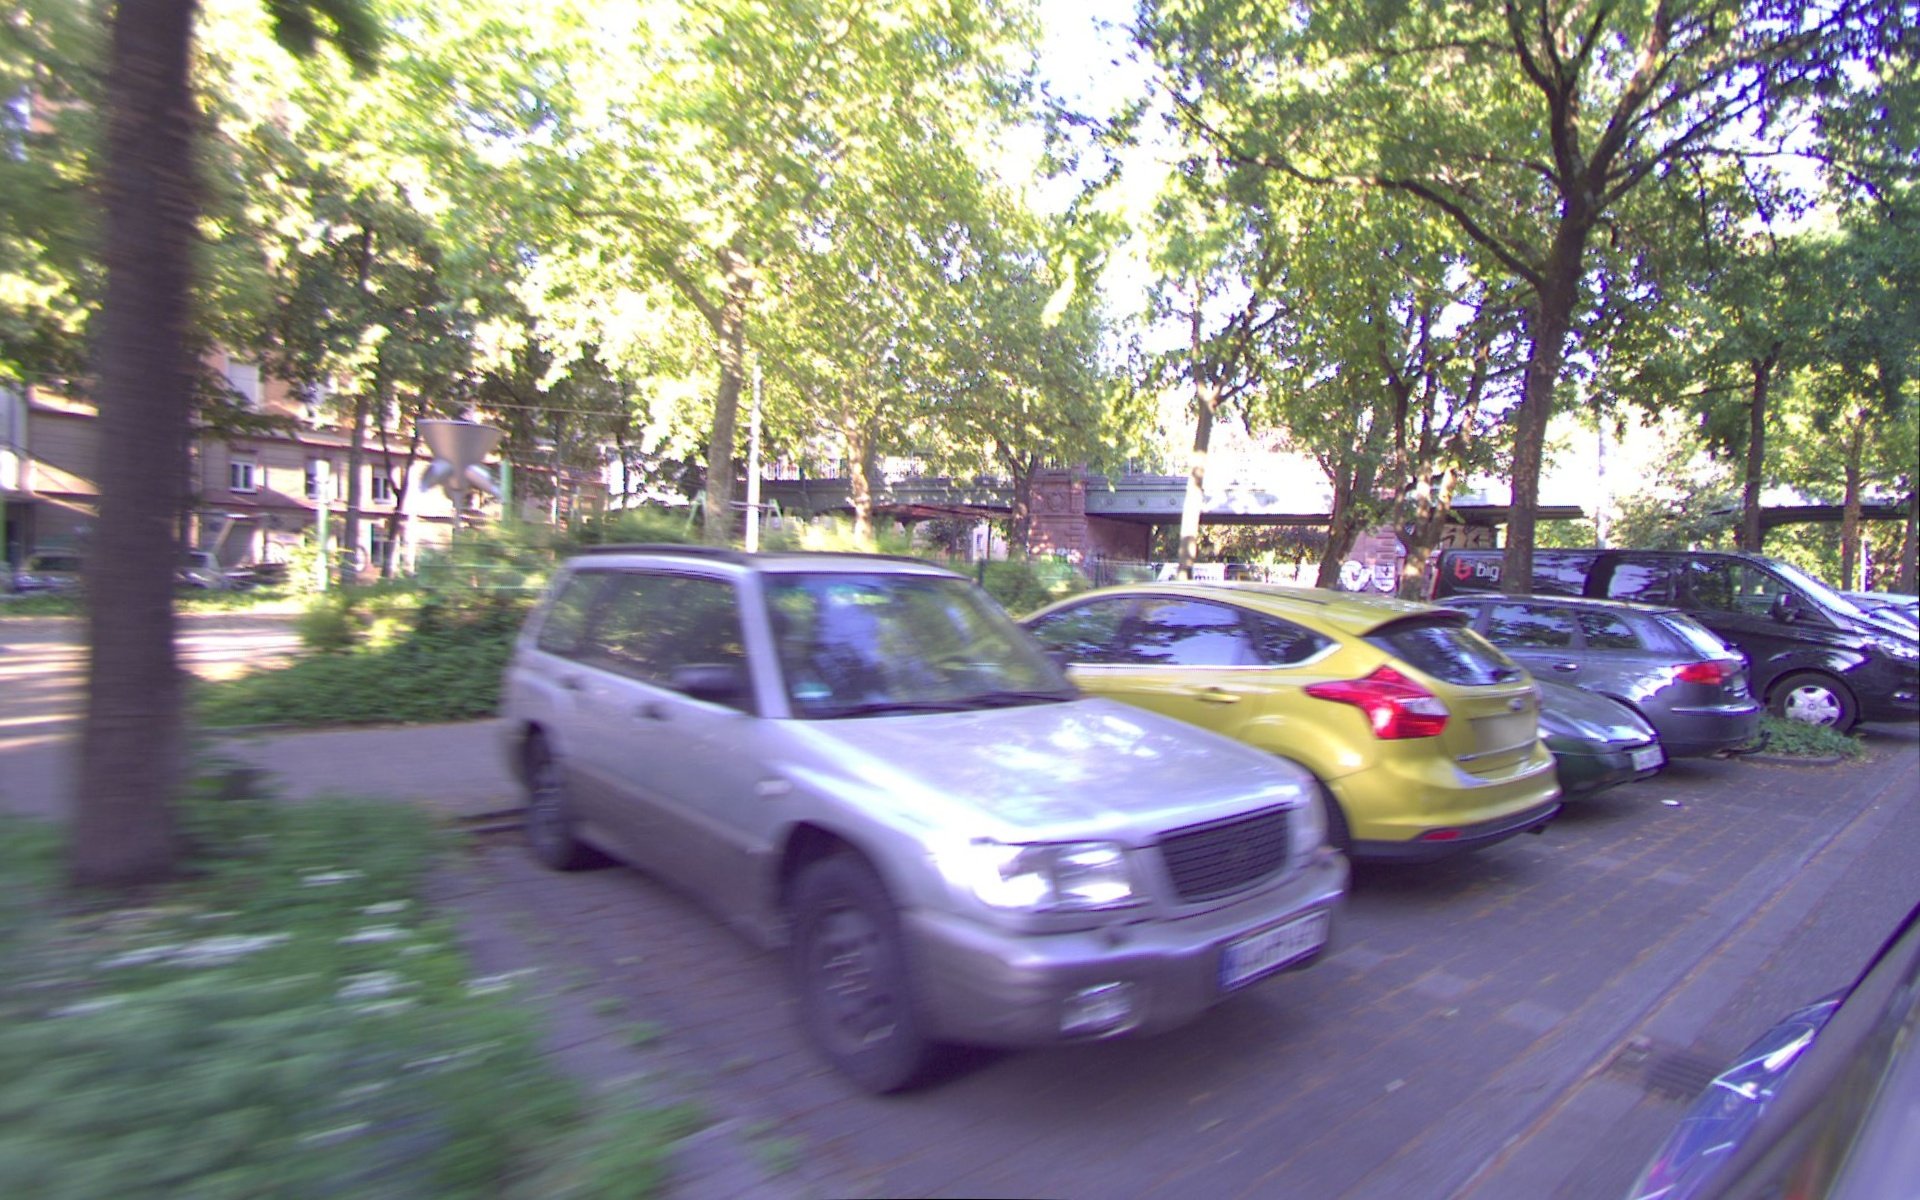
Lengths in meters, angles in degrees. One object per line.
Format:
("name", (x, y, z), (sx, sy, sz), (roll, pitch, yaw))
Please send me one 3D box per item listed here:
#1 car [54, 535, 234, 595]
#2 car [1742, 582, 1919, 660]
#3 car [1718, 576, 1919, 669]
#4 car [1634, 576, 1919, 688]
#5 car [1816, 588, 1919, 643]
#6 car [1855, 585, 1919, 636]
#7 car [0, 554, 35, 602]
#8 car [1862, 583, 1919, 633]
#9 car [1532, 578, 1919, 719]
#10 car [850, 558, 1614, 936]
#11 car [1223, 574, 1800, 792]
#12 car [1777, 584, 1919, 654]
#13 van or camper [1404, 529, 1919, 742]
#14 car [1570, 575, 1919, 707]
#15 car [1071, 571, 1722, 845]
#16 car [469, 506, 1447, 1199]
("car", (-29.543, -1.271, 36.814), (1.982, 2.038, 4.694), (0, 2, 28))
("car", (19.868, 0.425, 22.374), (1.634, 1.491, 3.793), (-2, 4, -38))
("car", (17.982, 0.399, 20.595), (1.635, 1.666, 3.791), (-2, 4, -40))
("car", (14.504, 0.455, 17.516), (1.633, 1.596, 4.415), (-2, 4, -35))
("car", (27.024, 0.439, 28.838), (1.636, 1.418, 3.790), (-2, 4, -41))
("car", (29.374, 0.355, 30.155), (1.795, 1.418, 3.791), (-2, 4, -39))
("car", (-32.579, -0.665, 32.399), (1.982, 1.571, 3.962), (0, 2, 28))
("car", (30.938, 0.284, 31.760), (1.609, 1.490, 3.786), (-3, 4, -44))
("car", (10.617, 0.525, 13.969), (1.807, 1.519, 4.405), (-2, 4, -43))
("car", (1.250, 0.501, 6.328), (1.804, 1.457, 4.412), (-1, 3, -38))
("car", (4.890, 0.543, 9.532), (1.806, 1.457, 4.407), (-1, 3, -41))
("car", (21.942, 0.430, 23.900), (1.633, 1.464, 3.796), (-2, 4, -35))
("van or camper", (8.559, 0.241, 12.344), (1.992, 2.052, 5.429), (1, 2, -38))
("car", (12.043, 0.494, 15.406), (1.634, 1.596, 4.412), (-2, 4, -38))
("car", (3.077, 0.551, 8.026), (1.804, 1.457, 4.412), (-1, 3, -38))
("car", (-0.535, 0.497, 4.391), (1.806, 1.610, 4.408), (-1, 3, -41))
